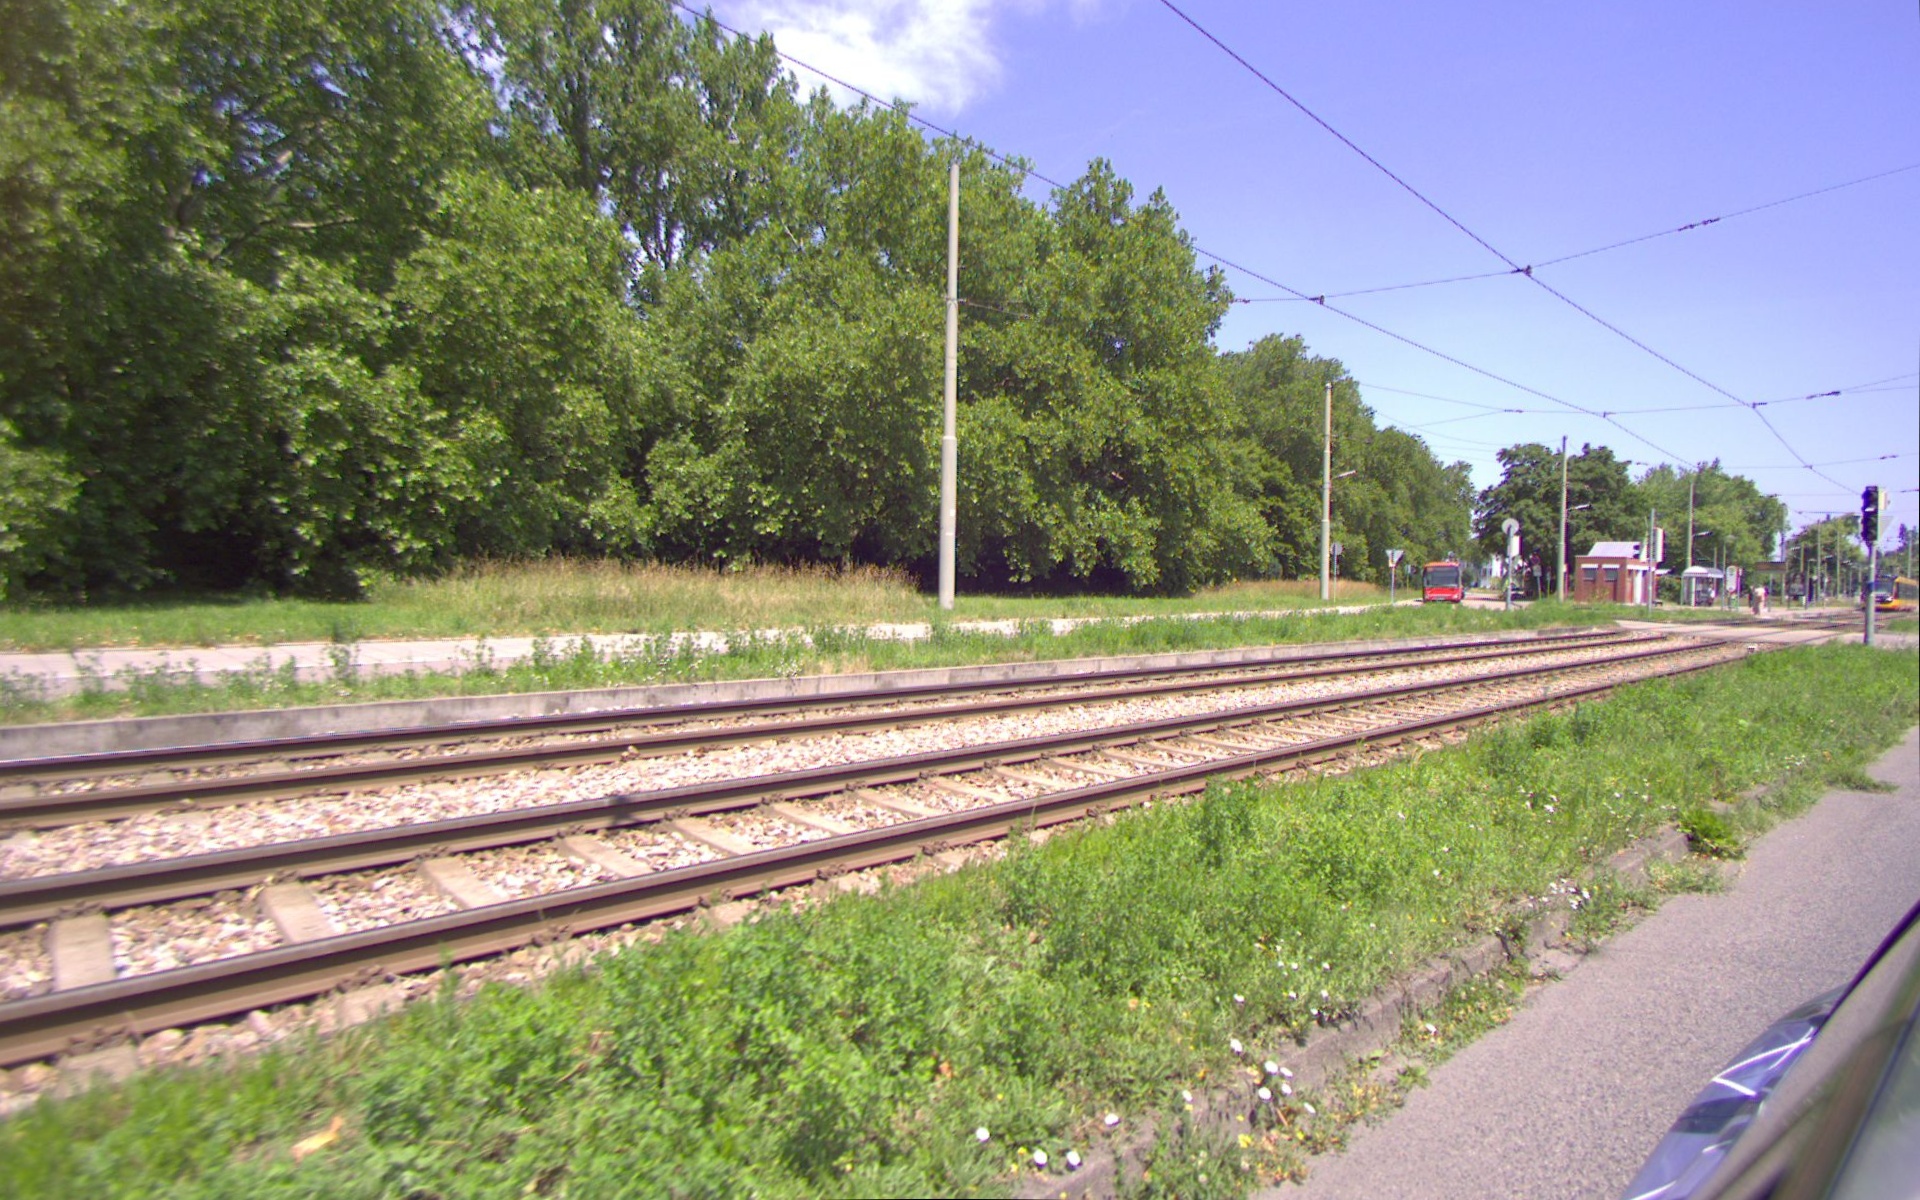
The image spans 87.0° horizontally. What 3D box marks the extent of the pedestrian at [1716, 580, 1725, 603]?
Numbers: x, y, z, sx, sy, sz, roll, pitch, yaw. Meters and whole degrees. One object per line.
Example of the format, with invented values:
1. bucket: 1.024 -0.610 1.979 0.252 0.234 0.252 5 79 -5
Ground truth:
1. pedestrian: 59.402 -0.638 79.026 0.727 1.796 0.382 0 2 -40

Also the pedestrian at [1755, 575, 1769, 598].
1. pedestrian: 64.132 -1.083 80.956 0.646 1.786 0.707 0 2 -41

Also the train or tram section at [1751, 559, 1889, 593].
1. train or tram section: 99.439 -2.786 117.462 2.659 3.695 13.212 -1 1 -13

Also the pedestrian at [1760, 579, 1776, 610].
1. pedestrian: 45.995 -0.310 57.599 0.632 1.781 0.807 0 1 34

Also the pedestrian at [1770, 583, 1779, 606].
1. pedestrian: 58.836 -0.373 73.106 0.437 1.666 0.361 1 1 -40

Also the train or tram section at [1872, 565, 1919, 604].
1. train or tram section: 85.478 -1.397 92.379 7.136 3.364 2.522 0 2 -42

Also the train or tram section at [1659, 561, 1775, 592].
1. train or tram section: 96.675 -2.964 129.697 2.659 3.695 13.278 -1 1 -13

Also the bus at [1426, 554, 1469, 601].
1. bus: 39.168 -1.806 81.107 2.742 3.481 12.327 0 1 27
